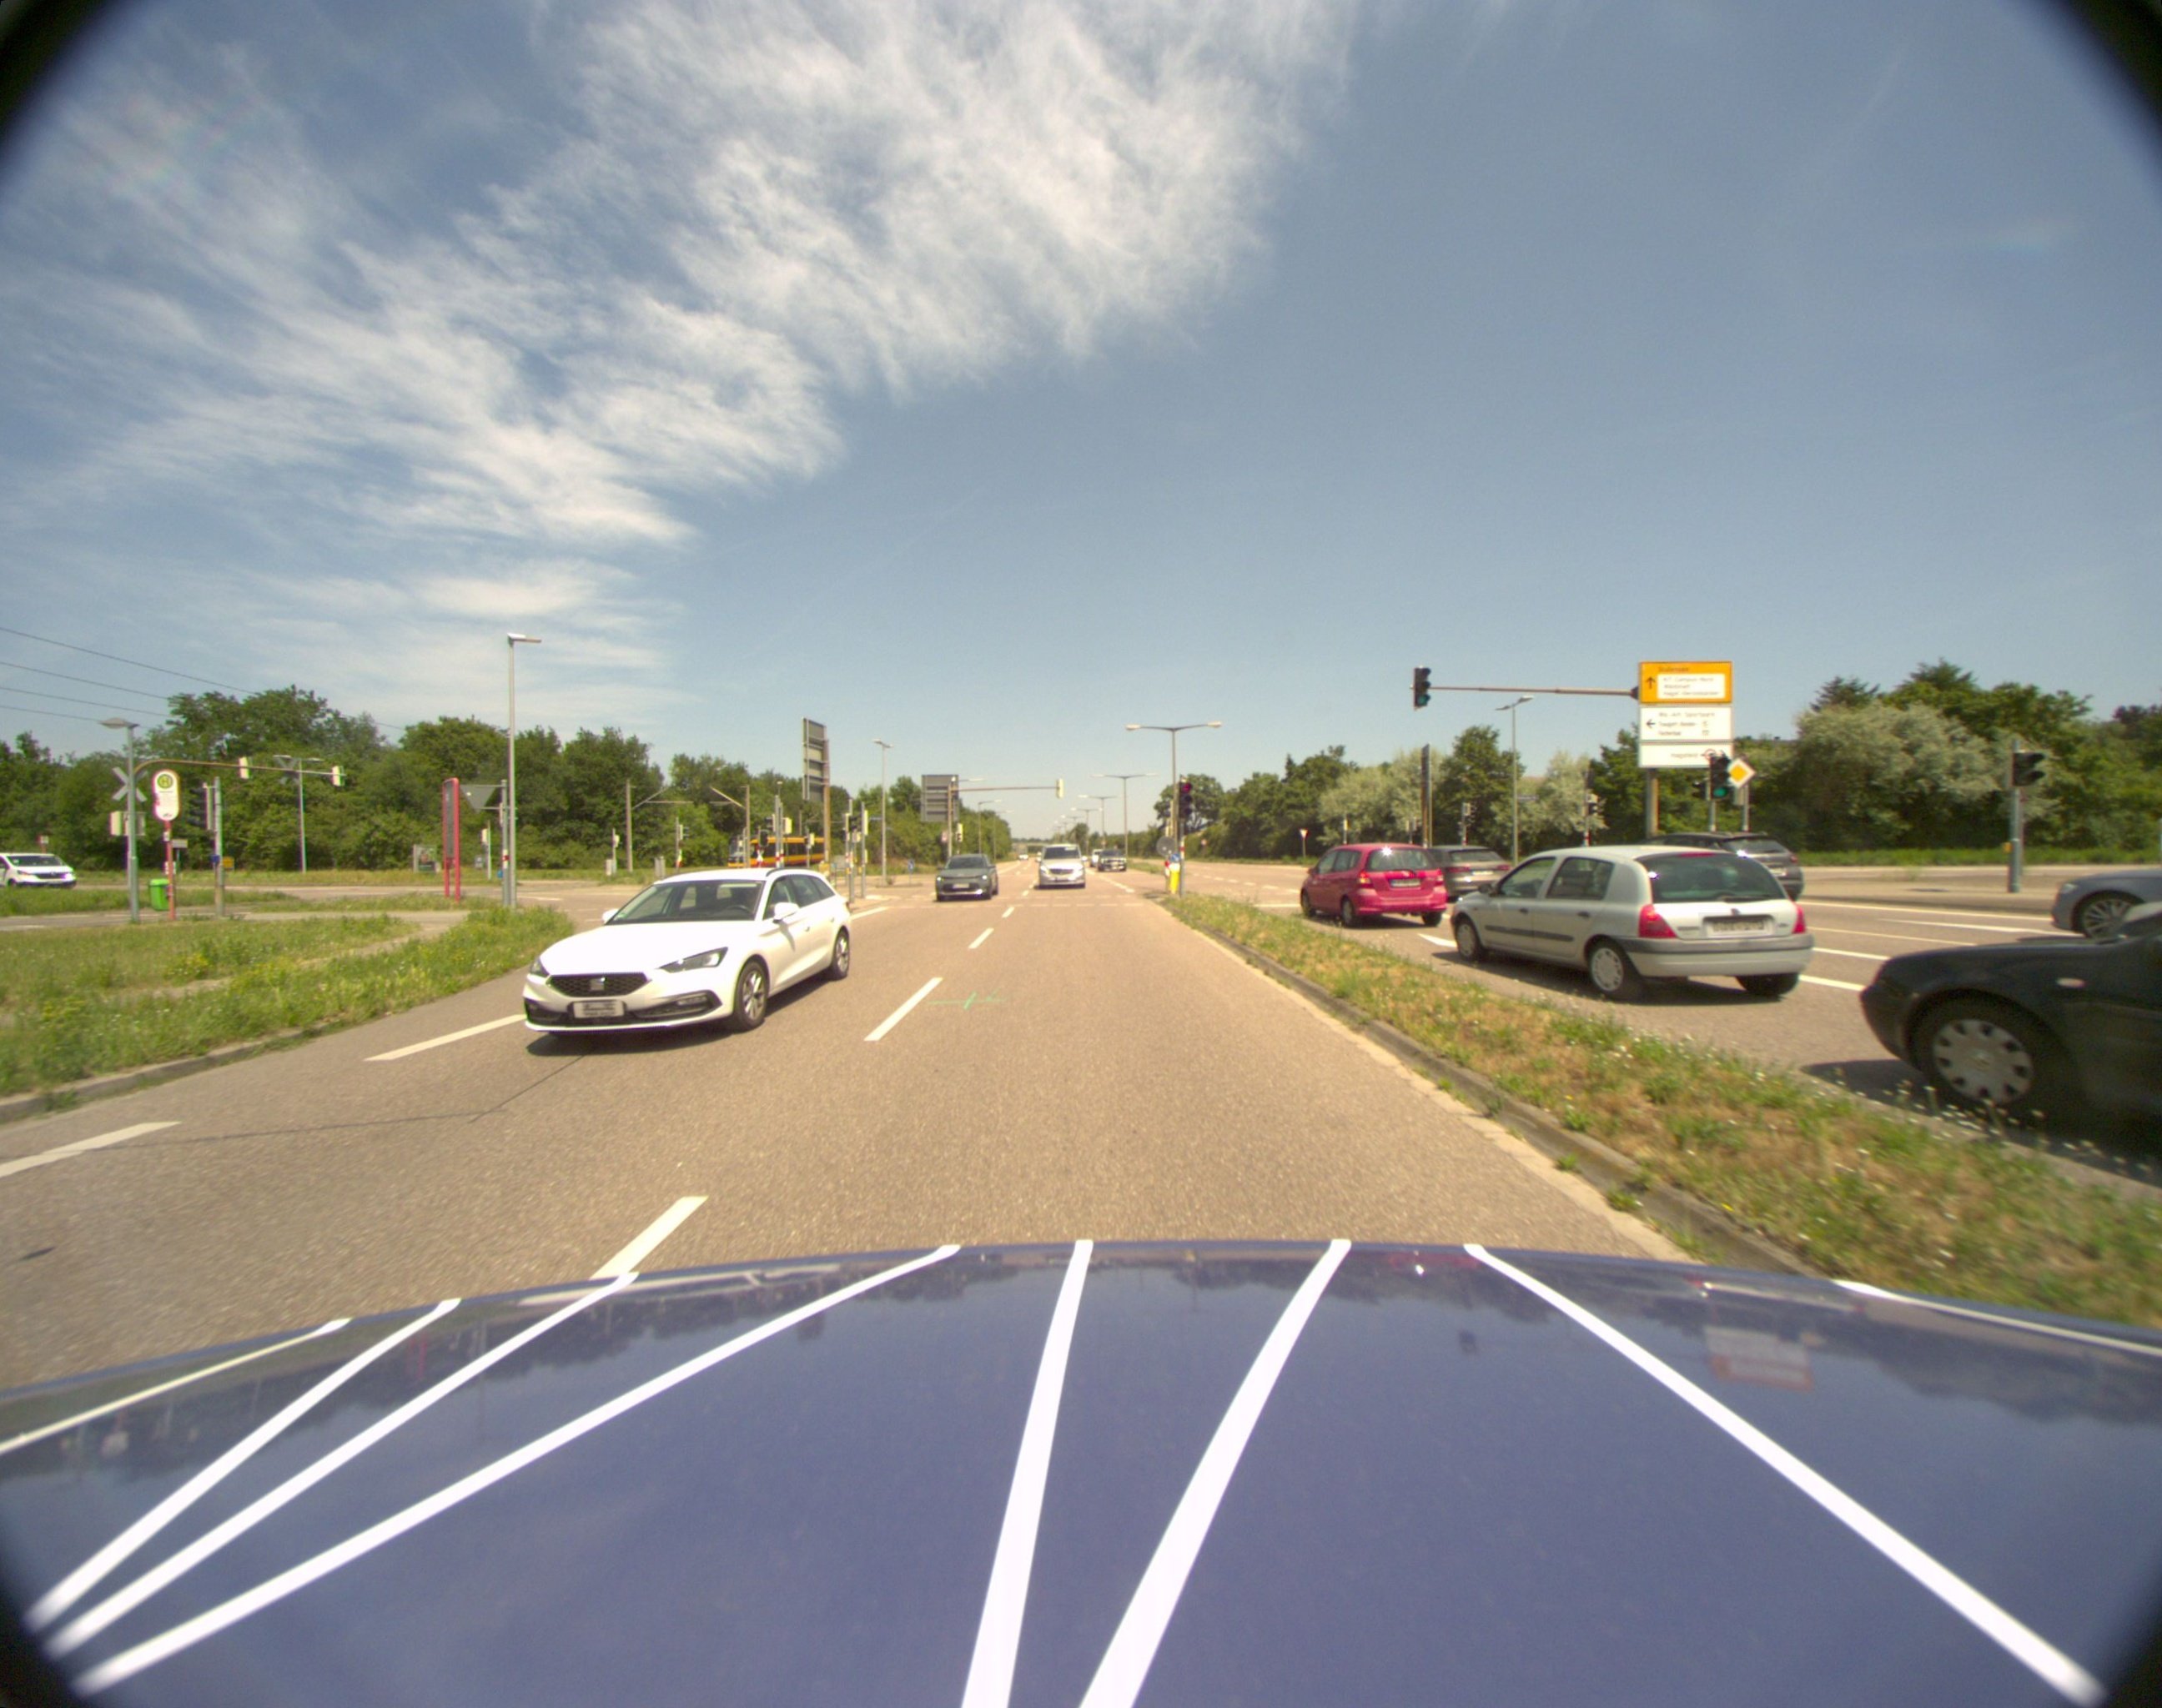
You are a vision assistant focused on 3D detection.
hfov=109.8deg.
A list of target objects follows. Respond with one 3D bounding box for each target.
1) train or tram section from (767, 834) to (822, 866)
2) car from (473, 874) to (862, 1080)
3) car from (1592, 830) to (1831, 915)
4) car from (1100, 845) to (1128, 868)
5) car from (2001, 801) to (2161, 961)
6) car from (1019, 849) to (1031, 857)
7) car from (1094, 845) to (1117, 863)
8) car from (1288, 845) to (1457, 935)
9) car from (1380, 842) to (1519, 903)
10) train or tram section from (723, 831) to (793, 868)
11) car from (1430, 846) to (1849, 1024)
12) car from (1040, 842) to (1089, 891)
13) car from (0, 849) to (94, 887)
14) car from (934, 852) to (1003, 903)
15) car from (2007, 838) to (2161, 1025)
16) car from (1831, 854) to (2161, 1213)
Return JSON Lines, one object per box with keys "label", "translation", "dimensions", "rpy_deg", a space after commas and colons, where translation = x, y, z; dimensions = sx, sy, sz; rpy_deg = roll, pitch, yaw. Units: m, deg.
{"label": "train or tram section", "translation": [-34.539, -0.511, 92.260], "dimensions": [2.822, 3.561, 12.495], "rpy_deg": [-1, 0, -4]}
{"label": "car", "translation": [-3.791, 0.999, 8.018], "dimensions": [1.687, 1.382, 4.450], "rpy_deg": [-1, 1, -1]}
{"label": "car", "translation": [13.086, 0.335, 16.139], "dimensions": [1.663, 1.530, 3.999], "rpy_deg": [-2, 0, -2]}
{"label": "car", "translation": [2.477, 0.170, 57.641], "dimensions": [1.785, 1.658, 4.530], "rpy_deg": [-1, 1, -2]}
{"label": "car", "translation": [12.777, 0.278, 7.191], "dimensions": [1.970, 1.740, 5.020], "rpy_deg": [-1, 0, -2]}
{"label": "car", "translation": [-11.710, -0.208, 159.314], "dimensions": [1.998, 1.652, 4.000], "rpy_deg": [-1, 0, 1]}
{"label": "car", "translation": [2.319, -0.028, 73.501], "dimensions": [1.922, 1.661, 4.000], "rpy_deg": [-1, 1, -2]}
{"label": "car", "translation": [5.480, 0.597, 14.836], "dimensions": [1.663, 1.482, 3.999], "rpy_deg": [-1, 0, -2]}
{"label": "car", "translation": [9.473, 0.428, 19.902], "dimensions": [1.601, 1.377, 4.002], "rpy_deg": [-2, 0, -2]}
{"label": "train or tram section", "translation": [-33.611, -0.442, 79.782], "dimensions": [2.822, 3.561, 12.495], "rpy_deg": [-1, 0, -4]}
{"label": "car", "translation": [5.467, 0.668, 8.146], "dimensions": [1.565, 1.415, 3.853], "rpy_deg": [-2, 0, -2]}
{"label": "car", "translation": [-0.664, 0.456, 32.602], "dimensions": [1.876, 1.866, 5.731], "rpy_deg": [-2, 1, 0]}
{"label": "car", "translation": [-52.445, 0.703, 38.030], "dimensions": [5.063, 1.718, 1.829], "rpy_deg": [-2, 2, 15]}
{"label": "car", "translation": [-3.799, 0.750, 26.207], "dimensions": [1.723, 1.587, 4.000], "rpy_deg": [0, 0, 1]}
{"label": "car", "translation": [9.150, 0.607, 5.163], "dimensions": [1.451, 1.437, 3.505], "rpy_deg": [-1, 1, 0]}
{"label": "car", "translation": [5.270, 0.751, 2.411], "dimensions": [1.680, 1.426, 4.191], "rpy_deg": [-1, 1, 1]}
